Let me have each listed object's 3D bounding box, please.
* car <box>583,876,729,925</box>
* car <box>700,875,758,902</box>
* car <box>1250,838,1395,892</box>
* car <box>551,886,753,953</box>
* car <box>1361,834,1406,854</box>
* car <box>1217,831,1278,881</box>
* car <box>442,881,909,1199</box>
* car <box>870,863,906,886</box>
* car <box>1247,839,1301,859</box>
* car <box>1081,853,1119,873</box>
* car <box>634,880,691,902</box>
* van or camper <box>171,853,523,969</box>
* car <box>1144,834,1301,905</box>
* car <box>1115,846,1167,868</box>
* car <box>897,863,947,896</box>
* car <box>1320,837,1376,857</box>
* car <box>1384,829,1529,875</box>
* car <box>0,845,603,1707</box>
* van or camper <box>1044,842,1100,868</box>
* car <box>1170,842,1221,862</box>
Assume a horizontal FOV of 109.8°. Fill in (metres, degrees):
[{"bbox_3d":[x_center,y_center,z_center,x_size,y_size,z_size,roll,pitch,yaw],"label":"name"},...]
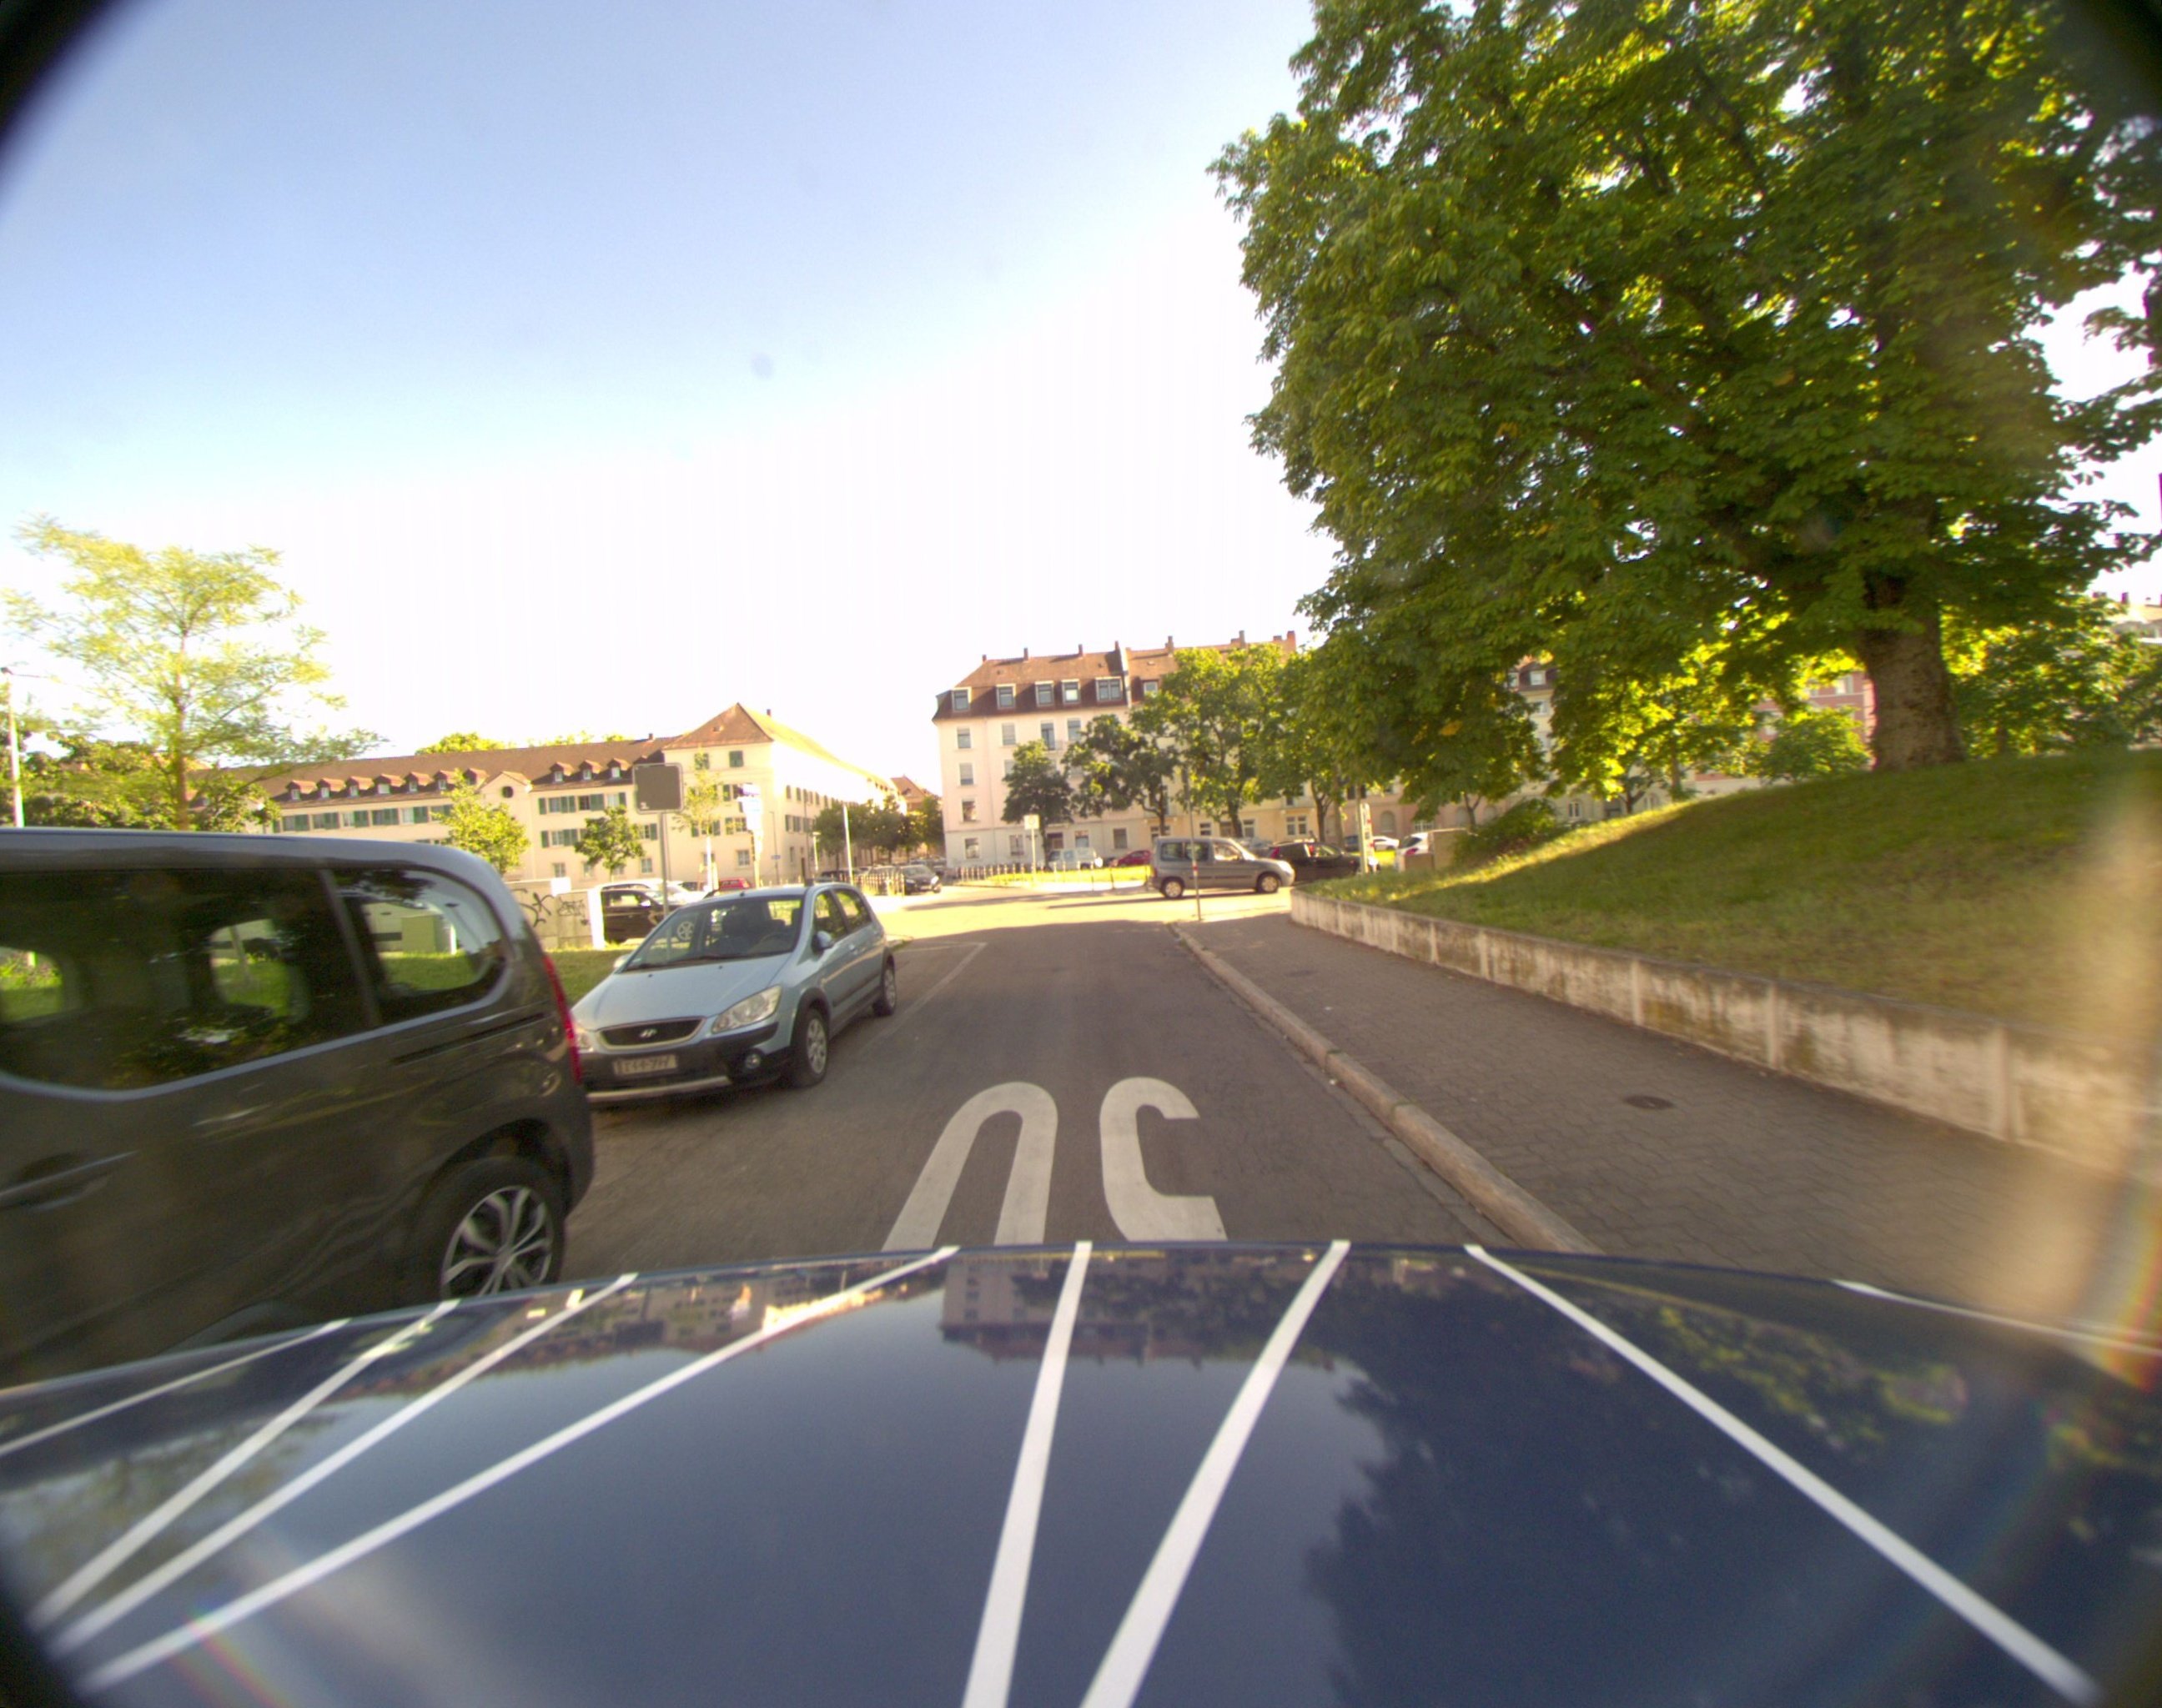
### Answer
[{"bbox_3d":[-14.189,1.530,25.503,3.996,1.342,1.521,-3,1,2],"label":"car"},{"bbox_3d":[-30.506,2.966,66.016,3.997,2.002,2.000,-3,1,-1],"label":"car"},{"bbox_3d":[7.821,0.340,24.833,4.140,1.488,1.729,-3,1,0],"label":"car"},{"bbox_3d":[-10.666,1.610,19.085,3.996,1.342,1.802,-3,0,3],"label":"car"},{"bbox_3d":[26.052,-0.871,65.455,3.192,1.499,1.545,-3,1,0],"label":"car"},{"bbox_3d":[6.065,0.044,28.002,1.678,1.645,3.305,-3,0,5],"label":"car"},{"bbox_3d":[-2.809,1.157,6.421,1.728,1.528,3.951,-6,0,-1],"label":"car"},{"bbox_3d":[-12.436,1.289,48.883,1.674,1.369,3.794,-3,0,-22],"label":"car"},{"bbox_3d":[15.251,-0.396,60.191,3.787,1.437,1.625,-3,0,2],"label":"car"},{"bbox_3d":[1.624,0.785,65.820,3.192,1.499,1.545,-3,1,0],"label":"car"},{"bbox_3d":[-36.573,3.215,66.417,3.997,1.630,1.647,-3,1,-1],"label":"car"},{"bbox_3d":[-18.725,1.401,19.616,6.980,2.486,2.177,-3,1,2],"label":"van or camper"},{"bbox_3d":[4.013,0.413,22.001,4.140,1.730,1.729,-4,1,0],"label":"car"},{"bbox_3d":[4.738,0.242,60.199,3.996,1.477,1.722,-3,1,2],"label":"car"},{"bbox_3d":[-7.823,1.195,37.179,1.674,1.433,3.794,-3,0,-22],"label":"car"},{"bbox_3d":[21.066,-0.563,60.041,3.787,1.343,1.625,-3,0,2],"label":"car"},{"bbox_3d":[12.125,-0.066,24.681,3.863,1.265,1.630,-3,0,0],"label":"car"},{"bbox_3d":[-2.876,0.989,0.798,1.855,1.790,4.253,-7,0,0],"label":"car"},{"bbox_3d":[-0.716,0.078,60.558,4.355,1.852,2.000,-3,1,-1],"label":"van or camper"},{"bbox_3d":[9.025,-0.156,60.131,3.787,1.437,1.625,-3,0,2],"label":"car"}]
